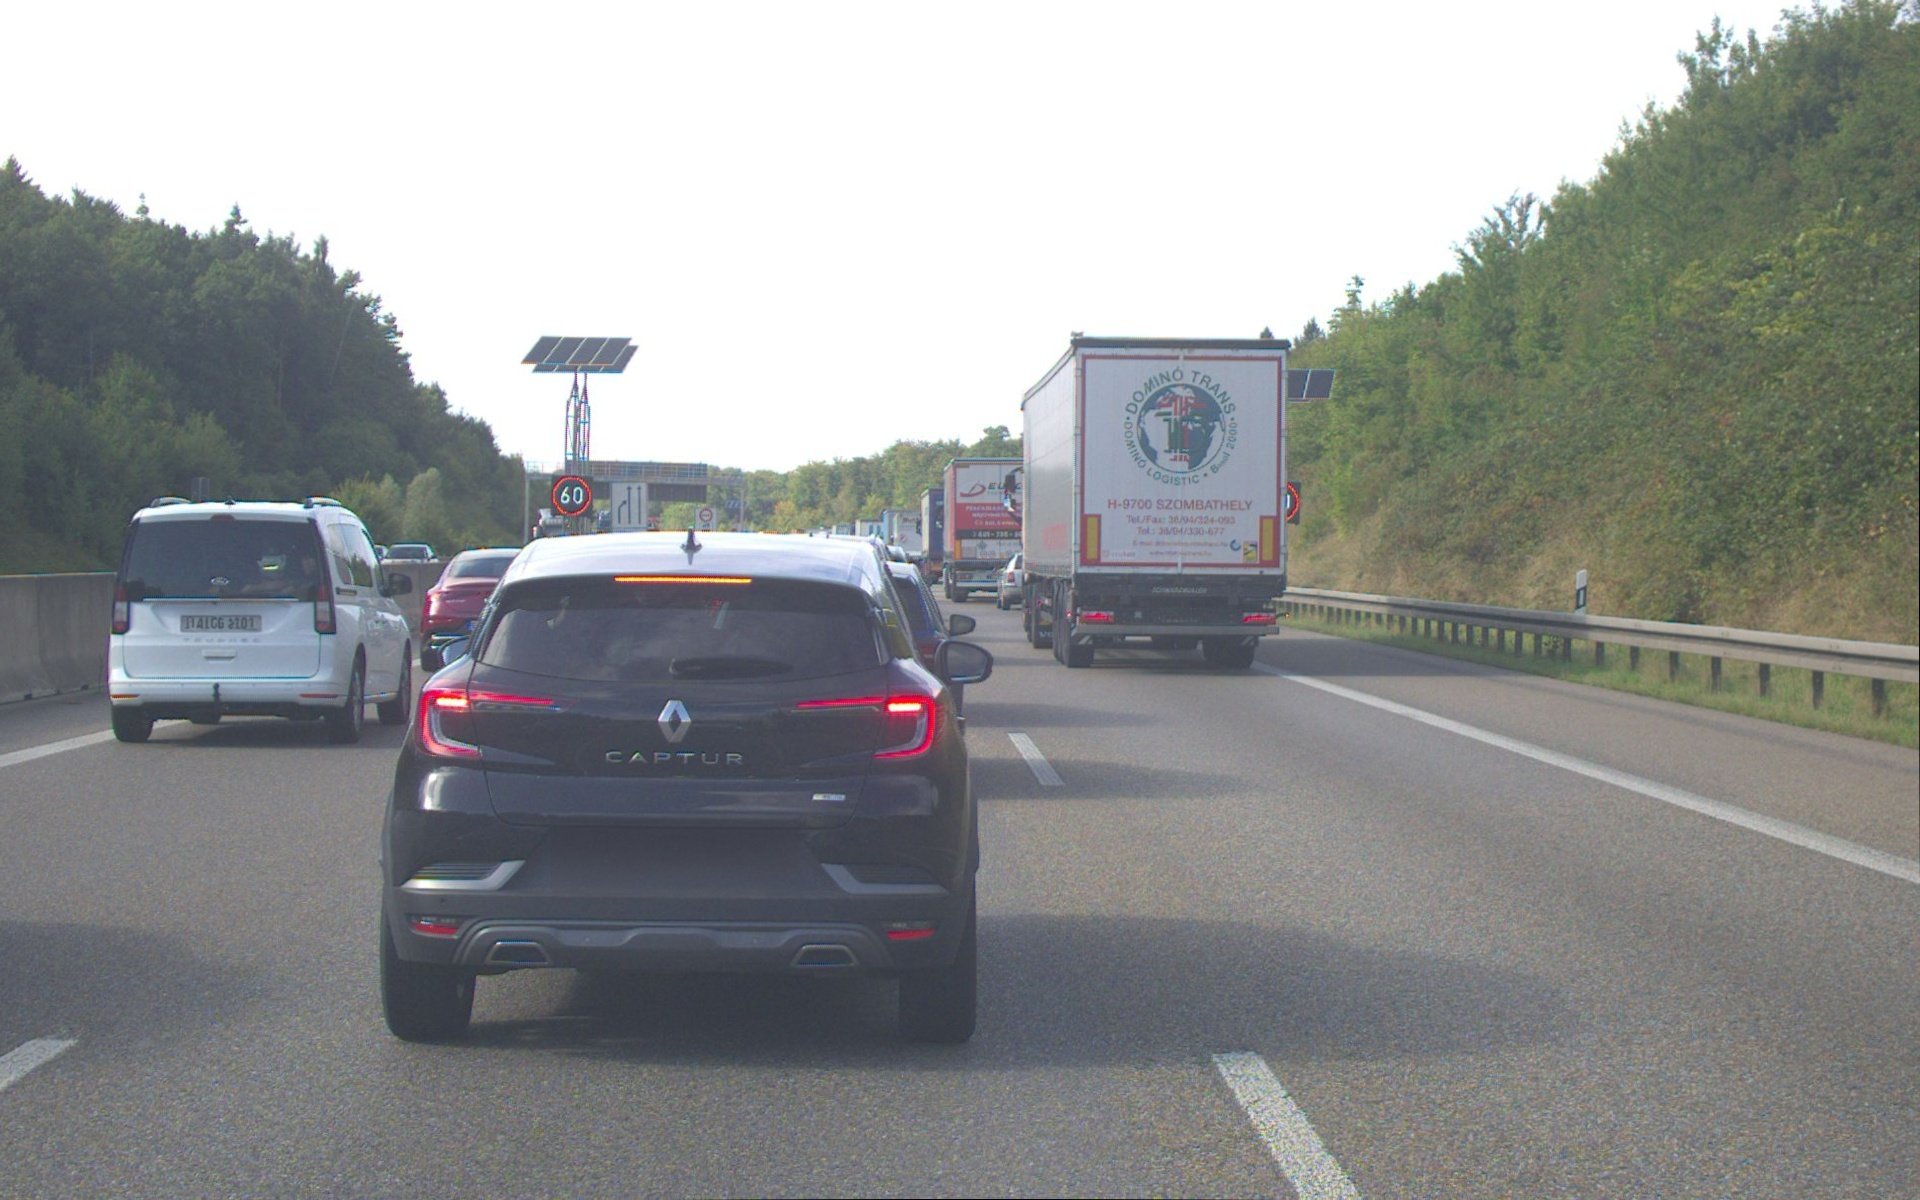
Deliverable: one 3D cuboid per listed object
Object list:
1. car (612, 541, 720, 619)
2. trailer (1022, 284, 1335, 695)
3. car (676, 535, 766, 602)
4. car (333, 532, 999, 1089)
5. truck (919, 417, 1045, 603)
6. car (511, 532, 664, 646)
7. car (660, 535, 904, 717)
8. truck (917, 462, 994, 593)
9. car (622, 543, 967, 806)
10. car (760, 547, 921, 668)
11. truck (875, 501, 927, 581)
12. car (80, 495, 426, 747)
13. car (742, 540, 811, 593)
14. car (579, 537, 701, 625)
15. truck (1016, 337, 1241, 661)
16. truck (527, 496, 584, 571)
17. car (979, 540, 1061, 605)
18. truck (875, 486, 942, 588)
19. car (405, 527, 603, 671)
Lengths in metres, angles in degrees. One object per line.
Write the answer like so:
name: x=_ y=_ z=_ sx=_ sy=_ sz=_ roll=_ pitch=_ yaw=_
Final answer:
car: x=-6.270 y=-0.436 z=73.655 sx=1.993 sy=1.607 sz=4.000 roll=1 pitch=0 yaw=0
trailer: x=2.611 y=-1.375 z=45.824 sx=3.002 sy=4.645 sz=13.291 roll=1 pitch=1 yaw=-1
car: x=-5.938 y=-0.800 z=85.831 sx=1.993 sy=1.607 sz=4.000 roll=0 pitch=1 yaw=0
car: x=-0.802 y=0.560 z=11.598 sx=1.804 sy=1.547 sz=4.000 roll=0 pitch=1 yaw=2
truck: x=0.594 y=-2.499 z=100.100 sx=3.365 sy=5.027 sz=12.737 roll=1 pitch=0 yaw=0
car: x=-5.865 y=-0.178 z=54.543 sx=1.993 sy=1.716 sz=4.000 roll=1 pitch=0 yaw=0
car: x=-1.529 y=0.201 z=30.871 sx=1.993 sy=1.509 sz=4.000 roll=1 pitch=0 yaw=0
truck: x=-0.186 y=-3.116 z=151.330 sx=3.166 sy=5.486 sz=12.737 roll=1 pitch=0 yaw=0
car: x=-0.976 y=0.419 z=22.015 sx=1.993 sy=1.509 sz=4.000 roll=1 pitch=0 yaw=0
car: x=-1.535 y=0.084 z=45.523 sx=1.993 sy=1.509 sz=4.000 roll=1 pitch=0 yaw=0
truck: x=-3.863 y=-3.834 z=226.962 sx=3.166 sy=5.142 sz=12.737 roll=1 pitch=0 yaw=0
car: x=-5.422 y=0.133 z=26.908 sx=1.911 sy=1.783 sz=4.418 roll=1 pitch=0 yaw=-2
car: x=-5.777 y=-1.076 z=108.690 sx=1.993 sy=1.607 sz=4.000 roll=0 pitch=1 yaw=0
car: x=-6.120 y=-0.374 z=66.121 sx=1.993 sy=1.607 sz=4.000 roll=1 pitch=0 yaw=0
truck: x=2.474 y=-1.500 z=52.541 sx=2.997 sy=4.651 sz=5.940 roll=0 pitch=1 yaw=-1
truck: x=-27.967 y=-4.609 z=238.249 sx=2.890 sy=5.075 sz=10.081 roll=1 pitch=1 yaw=-1
car: x=1.453 y=-0.669 z=84.344 sx=1.804 sy=1.527 sz=3.926 roll=1 pitch=0 yaw=-2
truck: x=-2.823 y=-3.476 z=192.309 sx=3.167 sy=5.486 sz=12.737 roll=1 pitch=0 yaw=1
car: x=-5.476 y=-0.027 z=41.677 sx=1.855 sy=1.635 sz=3.926 roll=1 pitch=0 yaw=0
